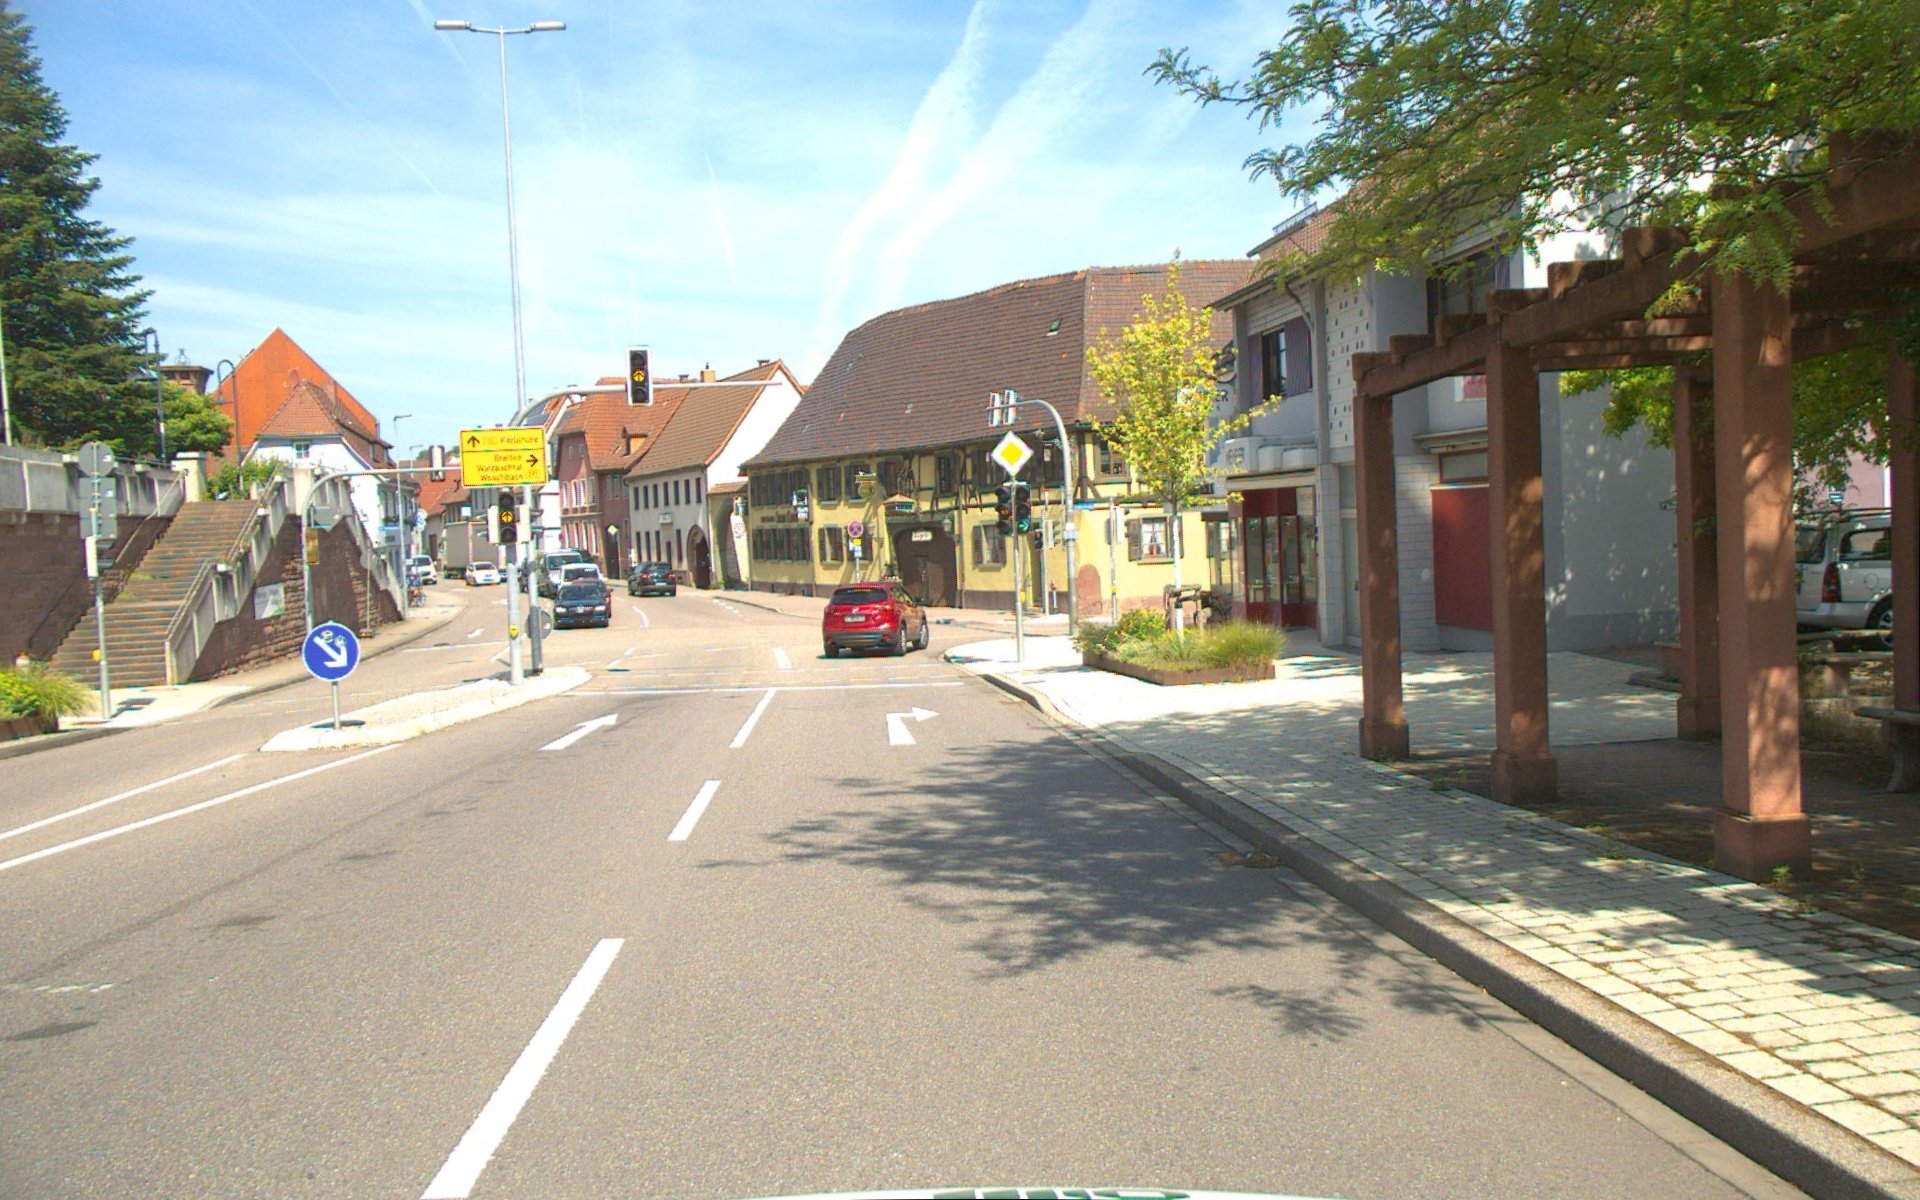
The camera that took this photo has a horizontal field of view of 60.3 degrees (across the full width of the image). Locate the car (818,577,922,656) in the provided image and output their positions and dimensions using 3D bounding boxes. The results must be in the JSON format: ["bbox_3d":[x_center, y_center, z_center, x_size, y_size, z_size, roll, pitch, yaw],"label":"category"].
[{"bbox_3d":[-2.031,0.339,38.420,1.766,1.692,3.815,-1,1,7],"label":"car"}]

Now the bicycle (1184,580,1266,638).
[{"bbox_3d":[6.150,0.204,38.445,1.768,1.256,0.549,-3,1,-5],"label":"bicycle"}]

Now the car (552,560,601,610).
[{"bbox_3d":[-16.684,-0.685,71.868,1.791,1.939,4.944,-3,3,-15],"label":"car"}]

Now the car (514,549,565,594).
[{"bbox_3d":[-21.929,-1.503,86.196,1.736,2.285,4.516,-1,2,-25],"label":"car"}]

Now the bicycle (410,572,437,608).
[{"bbox_3d":[-25.005,-0.490,77.072,0.547,1.635,2.561,0,1,-4],"label":"bicycle"}]

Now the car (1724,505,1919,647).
[{"bbox_3d":[10.997,-0.291,19.053,3.625,1.536,1.723,-1,1,-4],"label":"car"}]

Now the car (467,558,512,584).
[{"bbox_3d":[-30.472,-1.890,107.027,1.768,1.552,3.962,-4,3,-31],"label":"car"}]

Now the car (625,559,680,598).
[{"bbox_3d":[-15.185,-1.084,81.485,1.796,1.768,3.977,-4,3,-23],"label":"car"}]

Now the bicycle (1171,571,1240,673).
[{"bbox_3d":[3.392,0.273,22.975,0.519,1.301,1.992,-5,1,-1],"label":"bicycle"}]

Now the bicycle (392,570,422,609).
[{"bbox_3d":[-26.128,-0.520,78.175,0.628,1.810,2.668,0,1,-4],"label":"bicycle"}]

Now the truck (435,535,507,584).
[{"bbox_3d":[-36.728,-2.960,123.989,3.124,3.520,10.612,-1,1,-28],"label":"truck"}]

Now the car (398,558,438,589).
[{"bbox_3d":[-37.687,-1.834,114.935,2.109,2.000,5.241,-4,2,-23],"label":"car"}]

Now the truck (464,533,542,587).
[{"bbox_3d":[-31.944,-2.778,115.301,3.188,3.611,9.142,-1,2,-29],"label":"truck"}]

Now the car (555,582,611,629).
[{"bbox_3d":[-13.252,0.157,58.165,1.789,1.459,4.235,-2,2,-13],"label":"car"}]
